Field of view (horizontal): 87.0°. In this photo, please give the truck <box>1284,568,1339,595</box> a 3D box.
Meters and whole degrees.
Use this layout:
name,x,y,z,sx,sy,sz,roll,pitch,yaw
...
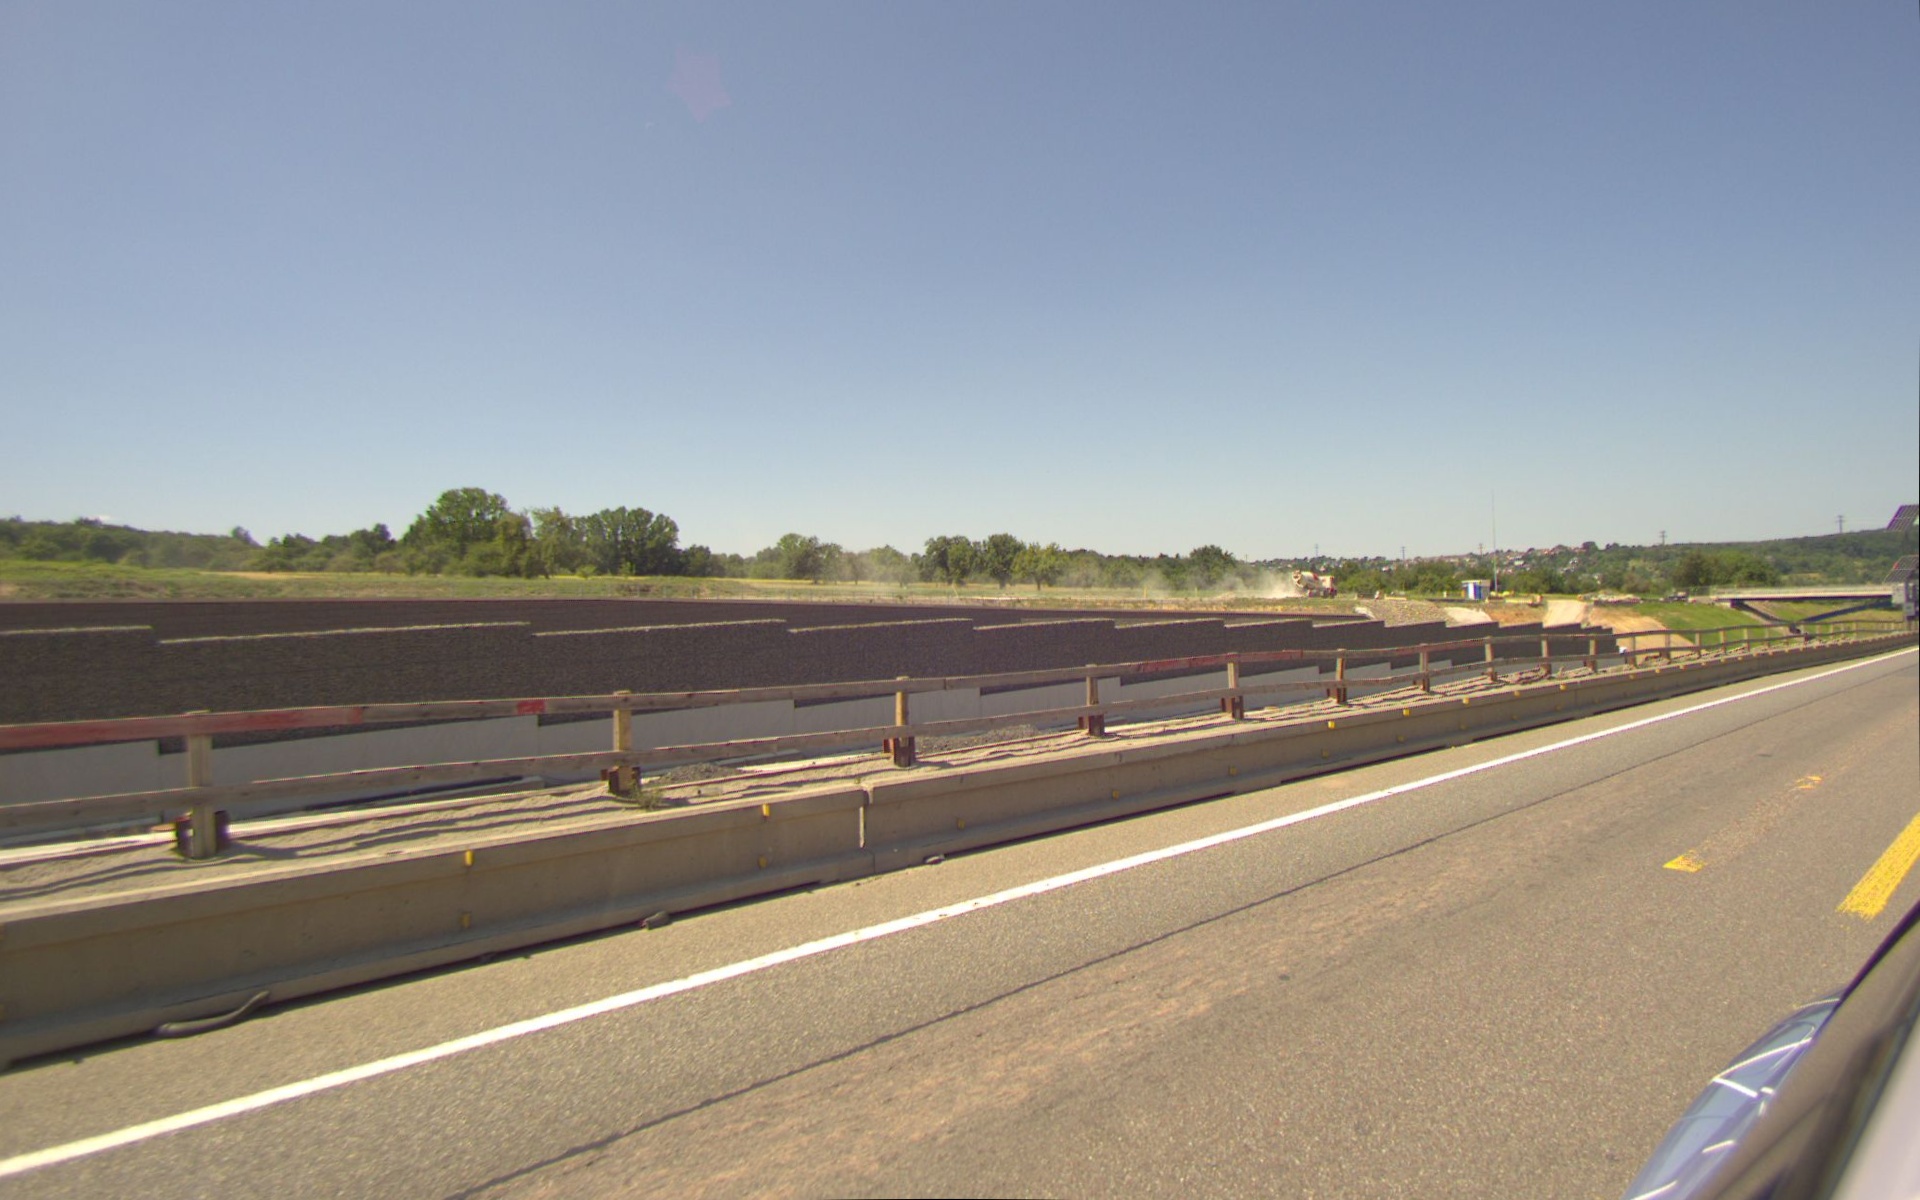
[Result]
name,x,y,z,sx,sy,sz,roll,pitch,yaw
truck,48.619,-2.479,139.799,8.599,3.510,3.153,0,-2,-40
